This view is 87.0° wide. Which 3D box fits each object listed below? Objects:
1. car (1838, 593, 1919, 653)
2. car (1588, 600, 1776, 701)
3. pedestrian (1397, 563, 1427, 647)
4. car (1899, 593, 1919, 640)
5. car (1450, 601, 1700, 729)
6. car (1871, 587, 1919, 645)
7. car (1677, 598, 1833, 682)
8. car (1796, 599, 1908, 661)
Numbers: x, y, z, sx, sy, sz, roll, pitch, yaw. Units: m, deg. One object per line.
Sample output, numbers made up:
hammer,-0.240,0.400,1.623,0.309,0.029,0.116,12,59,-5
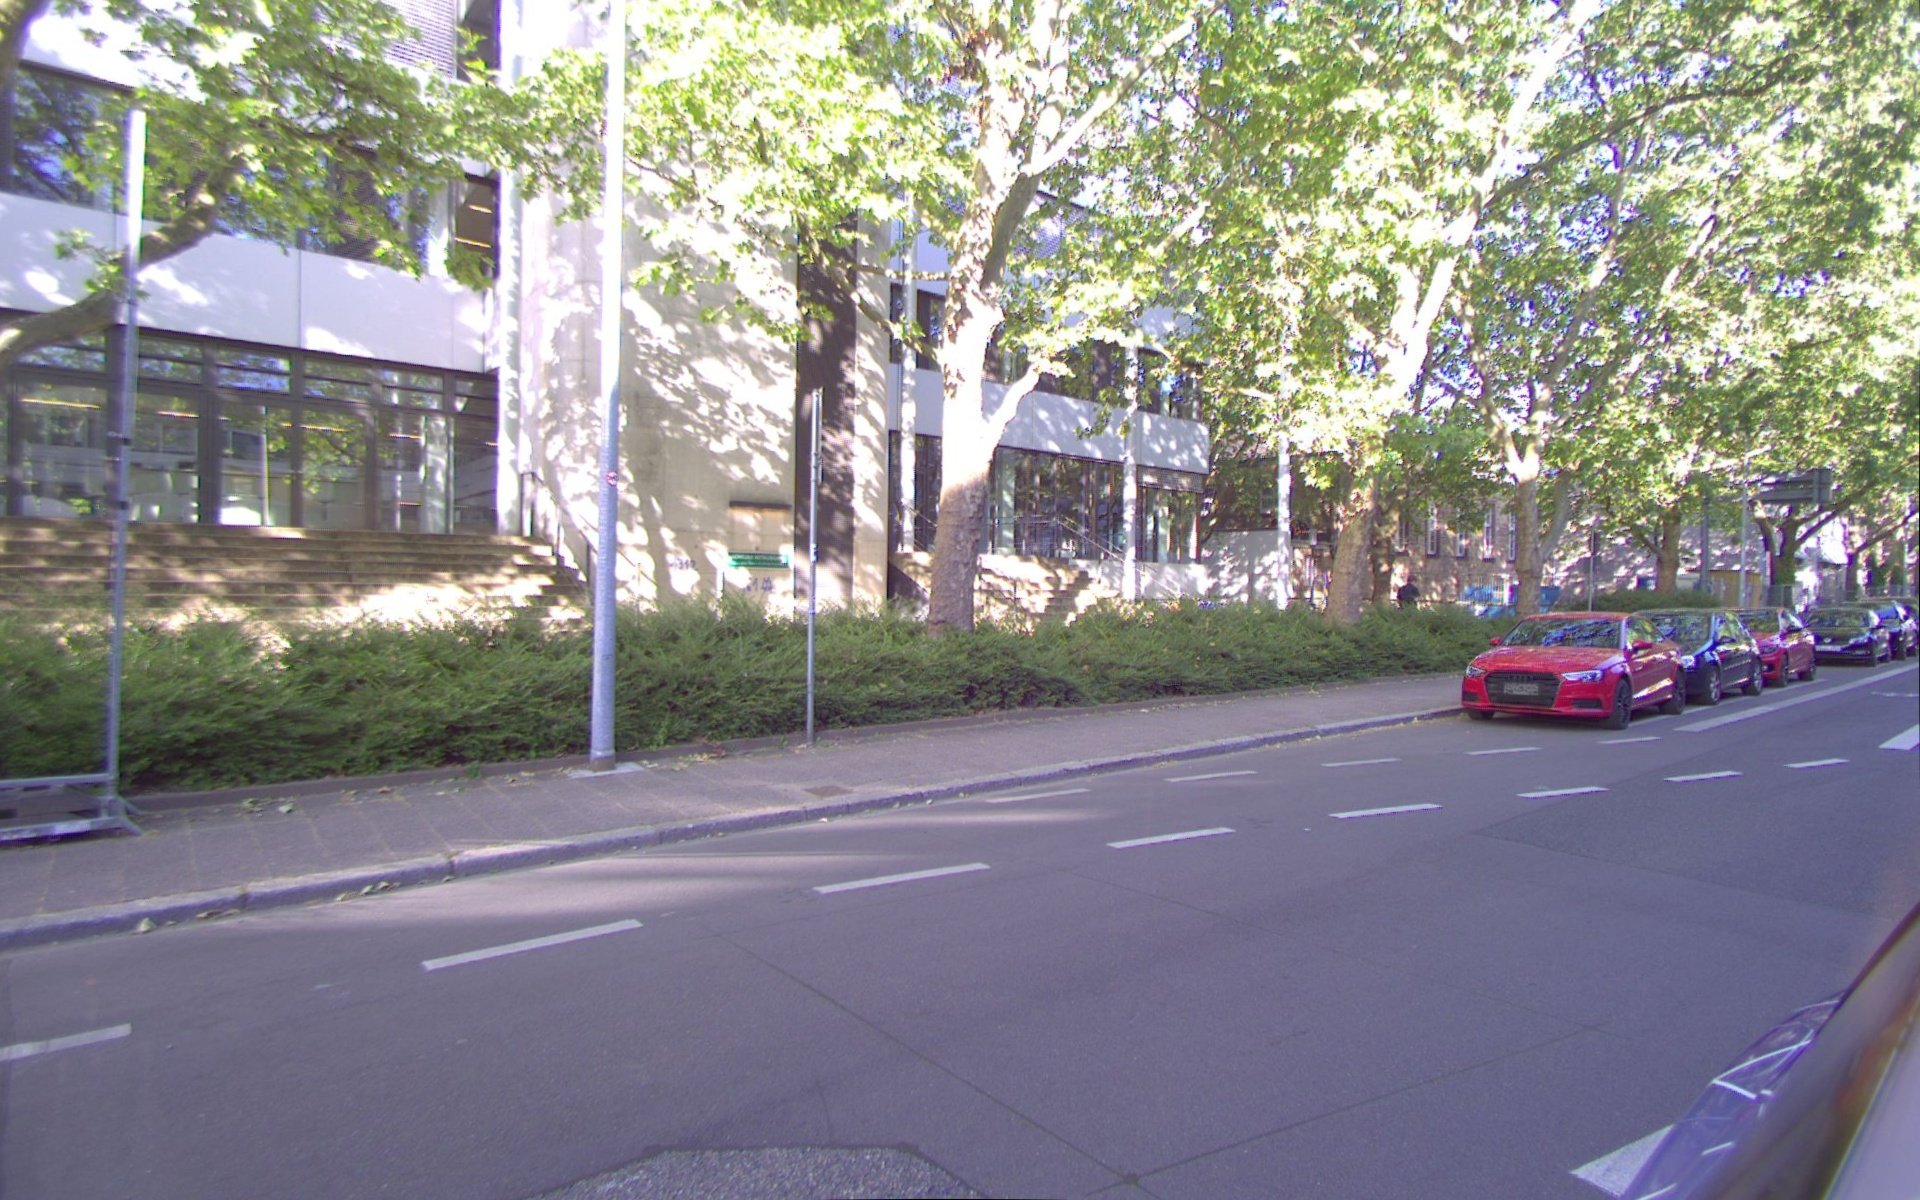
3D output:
car,26.625,0.605,29.041,4.158,1.598,1.632,-1,0,-41
car,11.846,0.731,16.543,3.632,1.436,1.668,-1,0,-40
pedestrian,11.202,0.117,25.073,0.549,2.039,0.555,0,0,38
car,35.527,0.573,36.781,4.497,1.633,1.632,-1,0,-41
car,8.292,0.738,13.513,3.931,1.409,1.792,-1,0,-42
car,31.163,0.474,33.010,4.497,1.814,1.632,-1,0,-41
car,15.734,0.709,19.969,3.854,1.467,1.691,-1,0,-40
car,22.939,0.713,25.985,3.855,1.441,1.691,-1,0,-41
